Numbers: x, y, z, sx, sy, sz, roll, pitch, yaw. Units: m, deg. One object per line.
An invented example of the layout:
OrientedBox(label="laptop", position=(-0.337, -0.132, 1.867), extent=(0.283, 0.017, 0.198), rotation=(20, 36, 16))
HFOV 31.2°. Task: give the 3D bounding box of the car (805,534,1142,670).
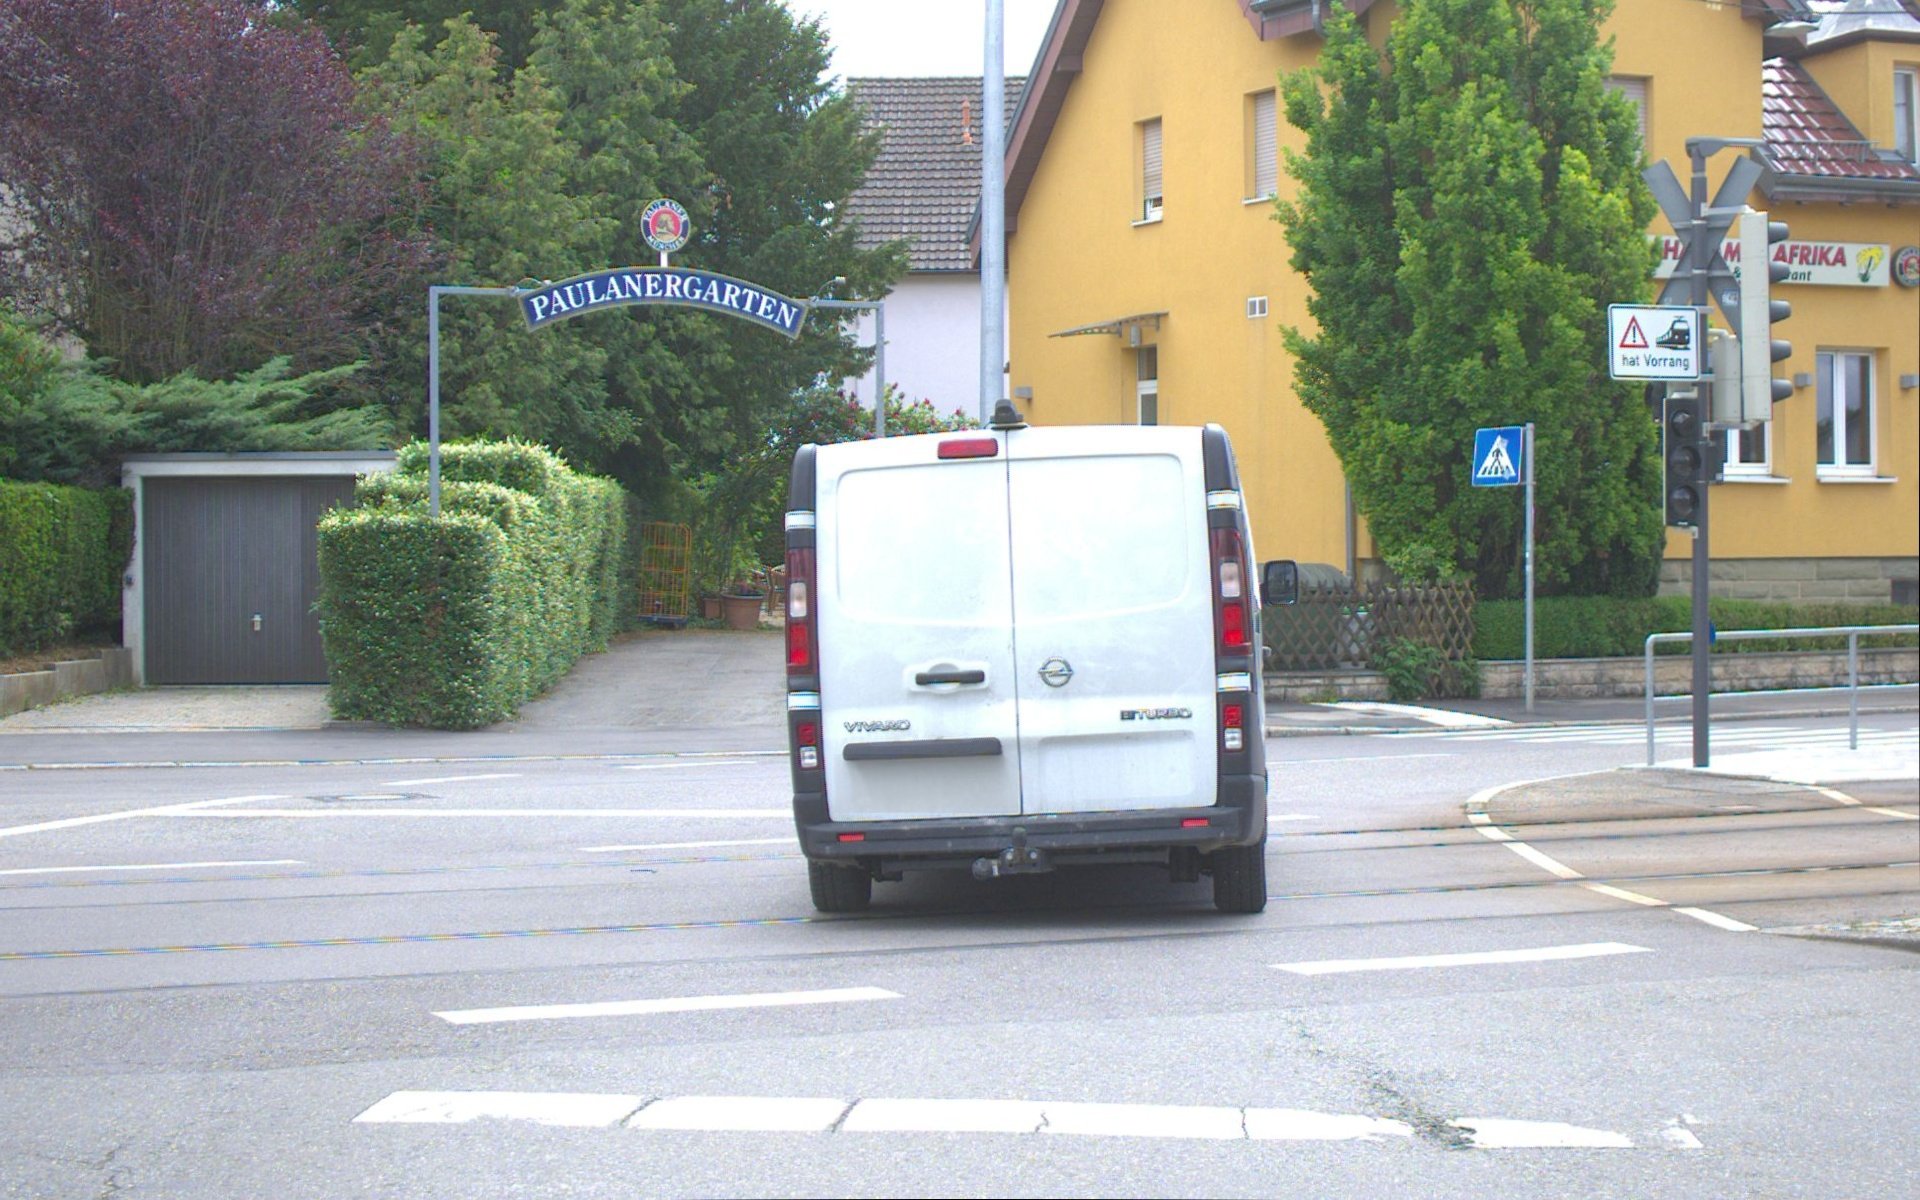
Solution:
OrientedBox(label="car", position=(0.175, -0.007, 41.061), extent=(3.667, 1.422, 1.727), rotation=(-2, 4, -32))

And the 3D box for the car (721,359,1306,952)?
OrientedBox(label="car", position=(0.454, 0.135, 15.201), extent=(2.117, 2.127, 5.440), rotation=(1, 1, 6))
